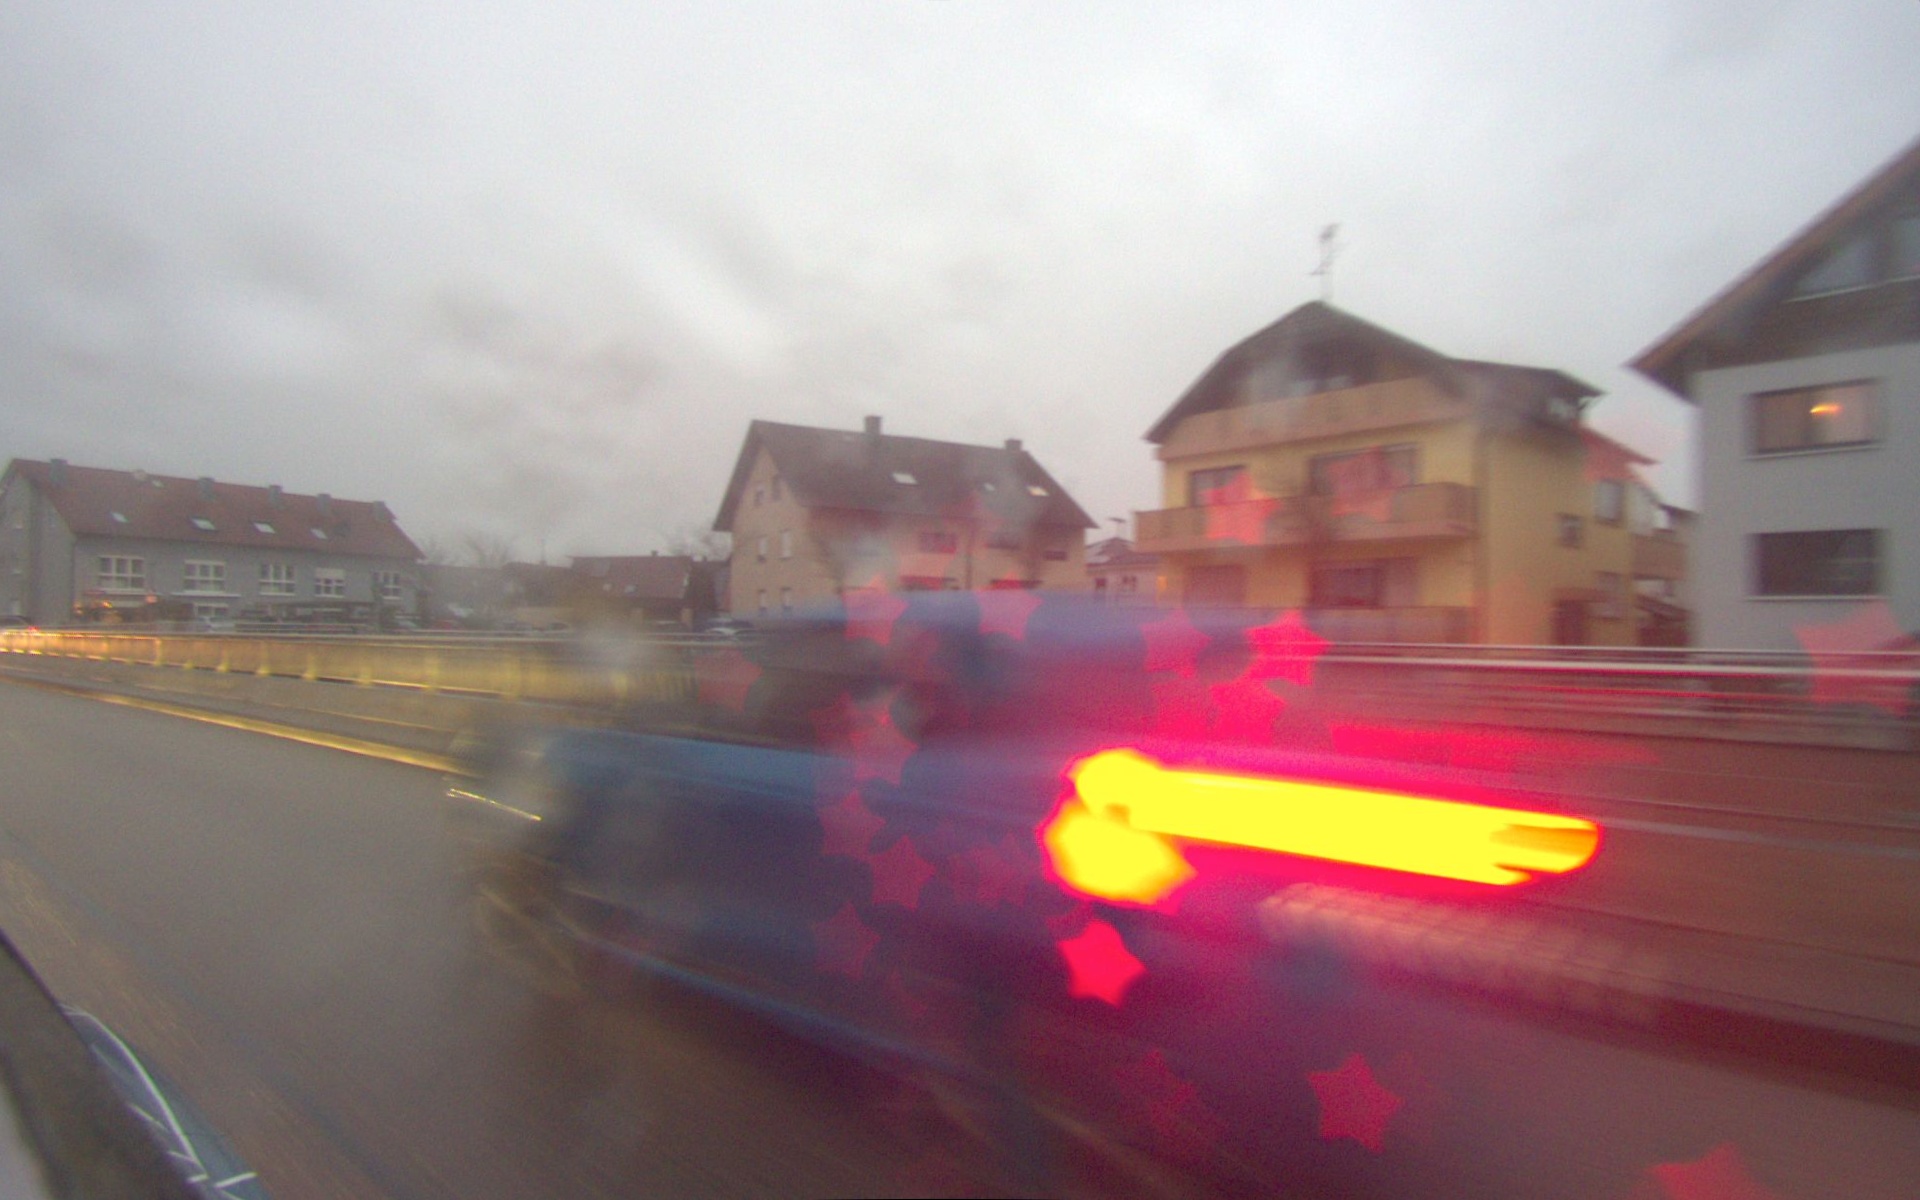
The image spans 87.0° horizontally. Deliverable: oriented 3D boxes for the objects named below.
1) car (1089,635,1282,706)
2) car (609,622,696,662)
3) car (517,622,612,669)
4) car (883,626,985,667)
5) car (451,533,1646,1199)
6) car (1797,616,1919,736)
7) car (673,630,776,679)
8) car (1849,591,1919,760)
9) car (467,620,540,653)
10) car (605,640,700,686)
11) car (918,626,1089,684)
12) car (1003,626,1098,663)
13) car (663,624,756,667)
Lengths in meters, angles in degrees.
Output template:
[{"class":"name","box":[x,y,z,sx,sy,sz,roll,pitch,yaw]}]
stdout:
[{"class":"car","box":[5.295,1.603,24.125,4.145,1.517,1.855,-2,-2,44]},{"class":"car","box":[-13.724,1.854,45.105,3.996,1.659,1.817,-2,0,39]},{"class":"car","box":[-17.901,2.028,45.747,4.350,1.919,1.975,-2,0,37]},{"class":"car","box":[-1.118,1.984,43.795,3.971,1.535,1.819,-2,0,-29]},{"class":"car","box":[-0.050,0.692,3.465,3.779,1.548,1.714,-2,0,41]},{"class":"car","box":[15.104,1.105,15.013,4.001,1.694,1.838,-2,0,44]},{"class":"car","box":[-8.720,1.962,37.306,3.985,1.636,1.797,-2,0,43]},{"class":"car","box":[11.990,0.822,10.671,3.858,1.817,1.781,-1,-2,41]},{"class":"car","box":[-22.190,1.741,49.103,3.829,1.425,1.660,0,1,39]},{"class":"car","box":[-12.311,2.460,40.401,4.001,1.529,1.876,0,1,44]},{"class":"car","box":[1.111,1.450,27.740,1.855,1.453,4.651,1,-2,-45]},{"class":"car","box":[4.189,2.019,46.705,3.932,1.556,2.006,-1,0,-30]},{"class":"car","box":[-10.434,1.852,42.103,3.998,1.659,1.792,-2,0,42]}]
